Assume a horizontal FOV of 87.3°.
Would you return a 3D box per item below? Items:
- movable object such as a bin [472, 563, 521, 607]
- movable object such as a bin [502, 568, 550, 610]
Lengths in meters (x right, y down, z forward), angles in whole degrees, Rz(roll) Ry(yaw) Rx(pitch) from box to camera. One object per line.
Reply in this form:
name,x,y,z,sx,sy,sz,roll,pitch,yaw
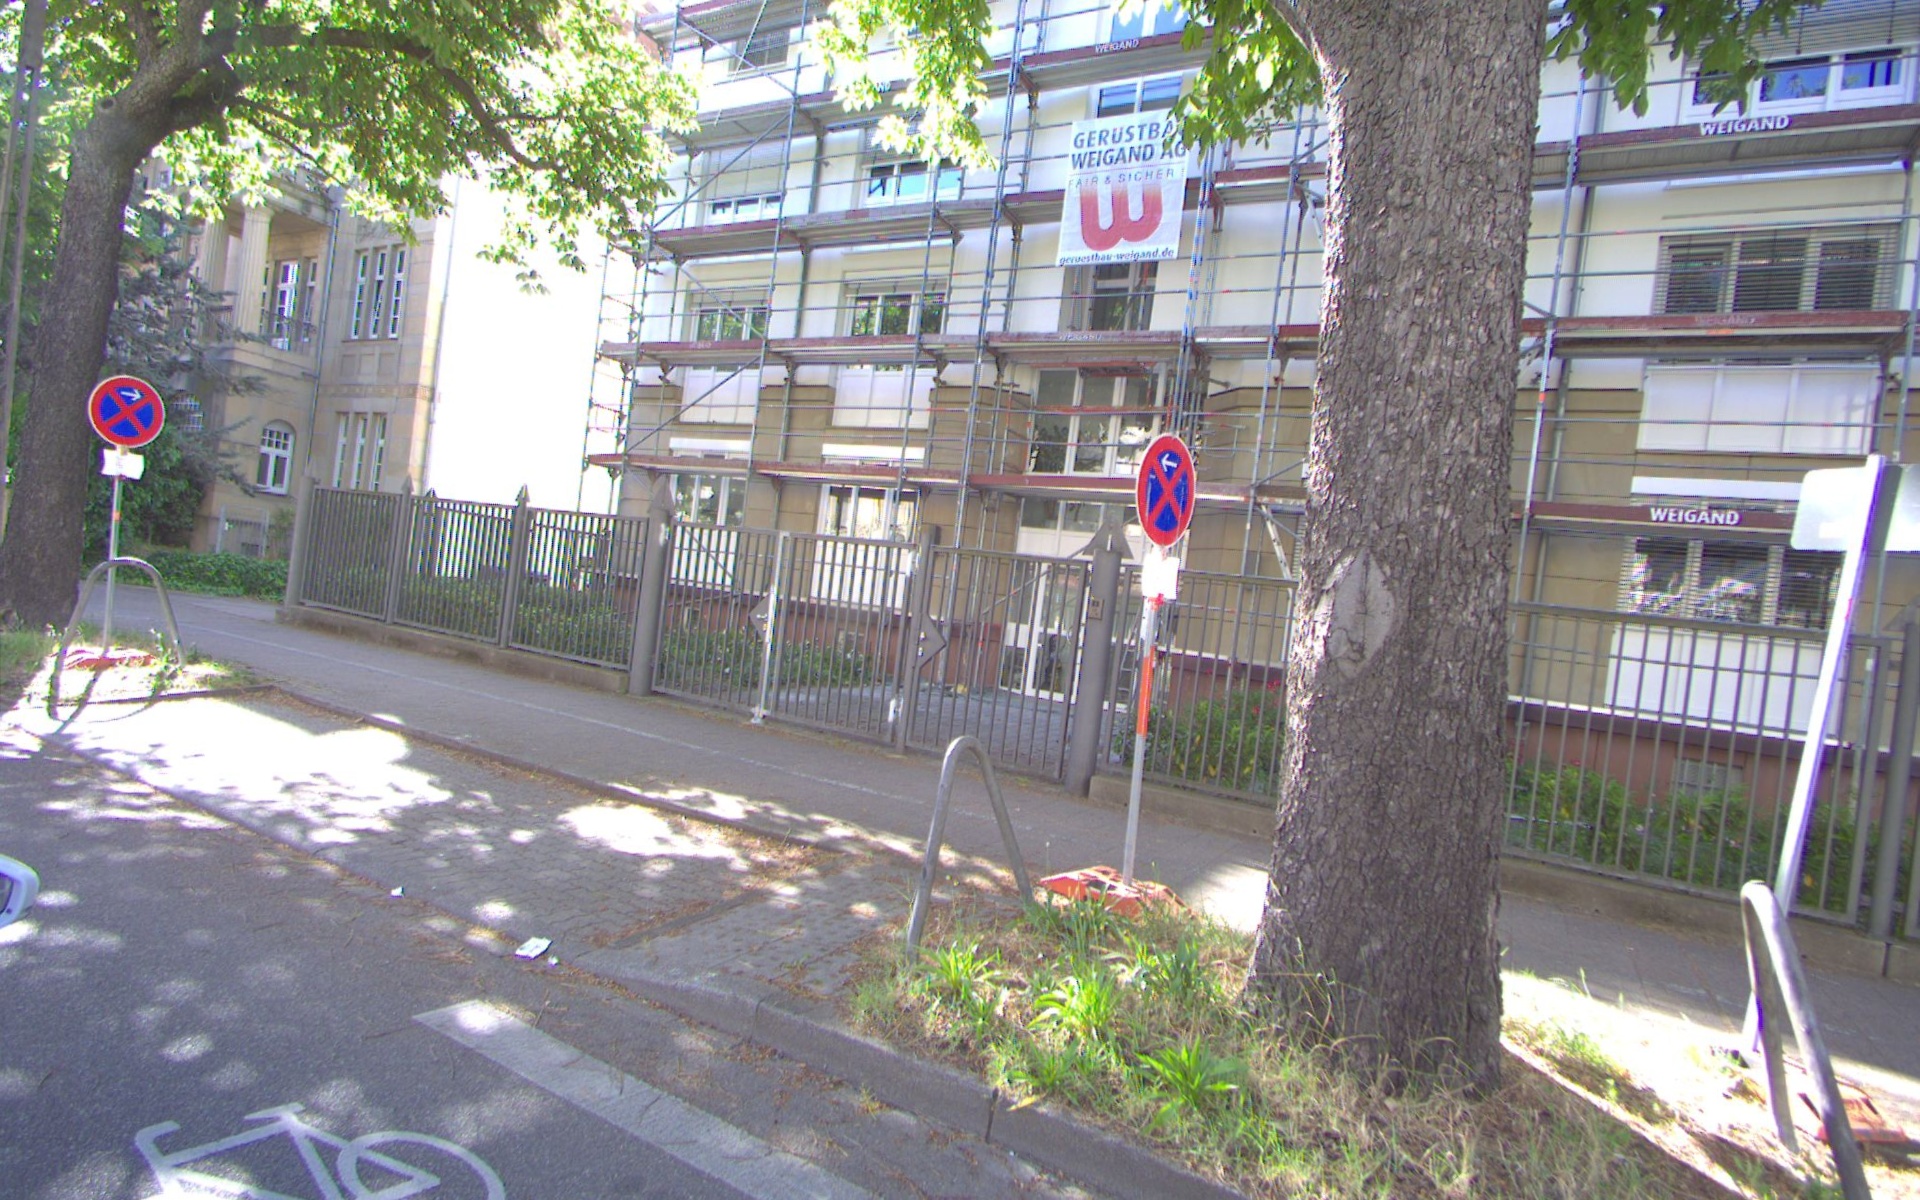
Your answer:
movable object such as a bin,-11.718,-0.375,25.446,0.637,0.966,0.835,6,-2,30
movable object such as a bin,-11.297,-0.289,26.203,0.637,0.966,0.835,6,-2,30
